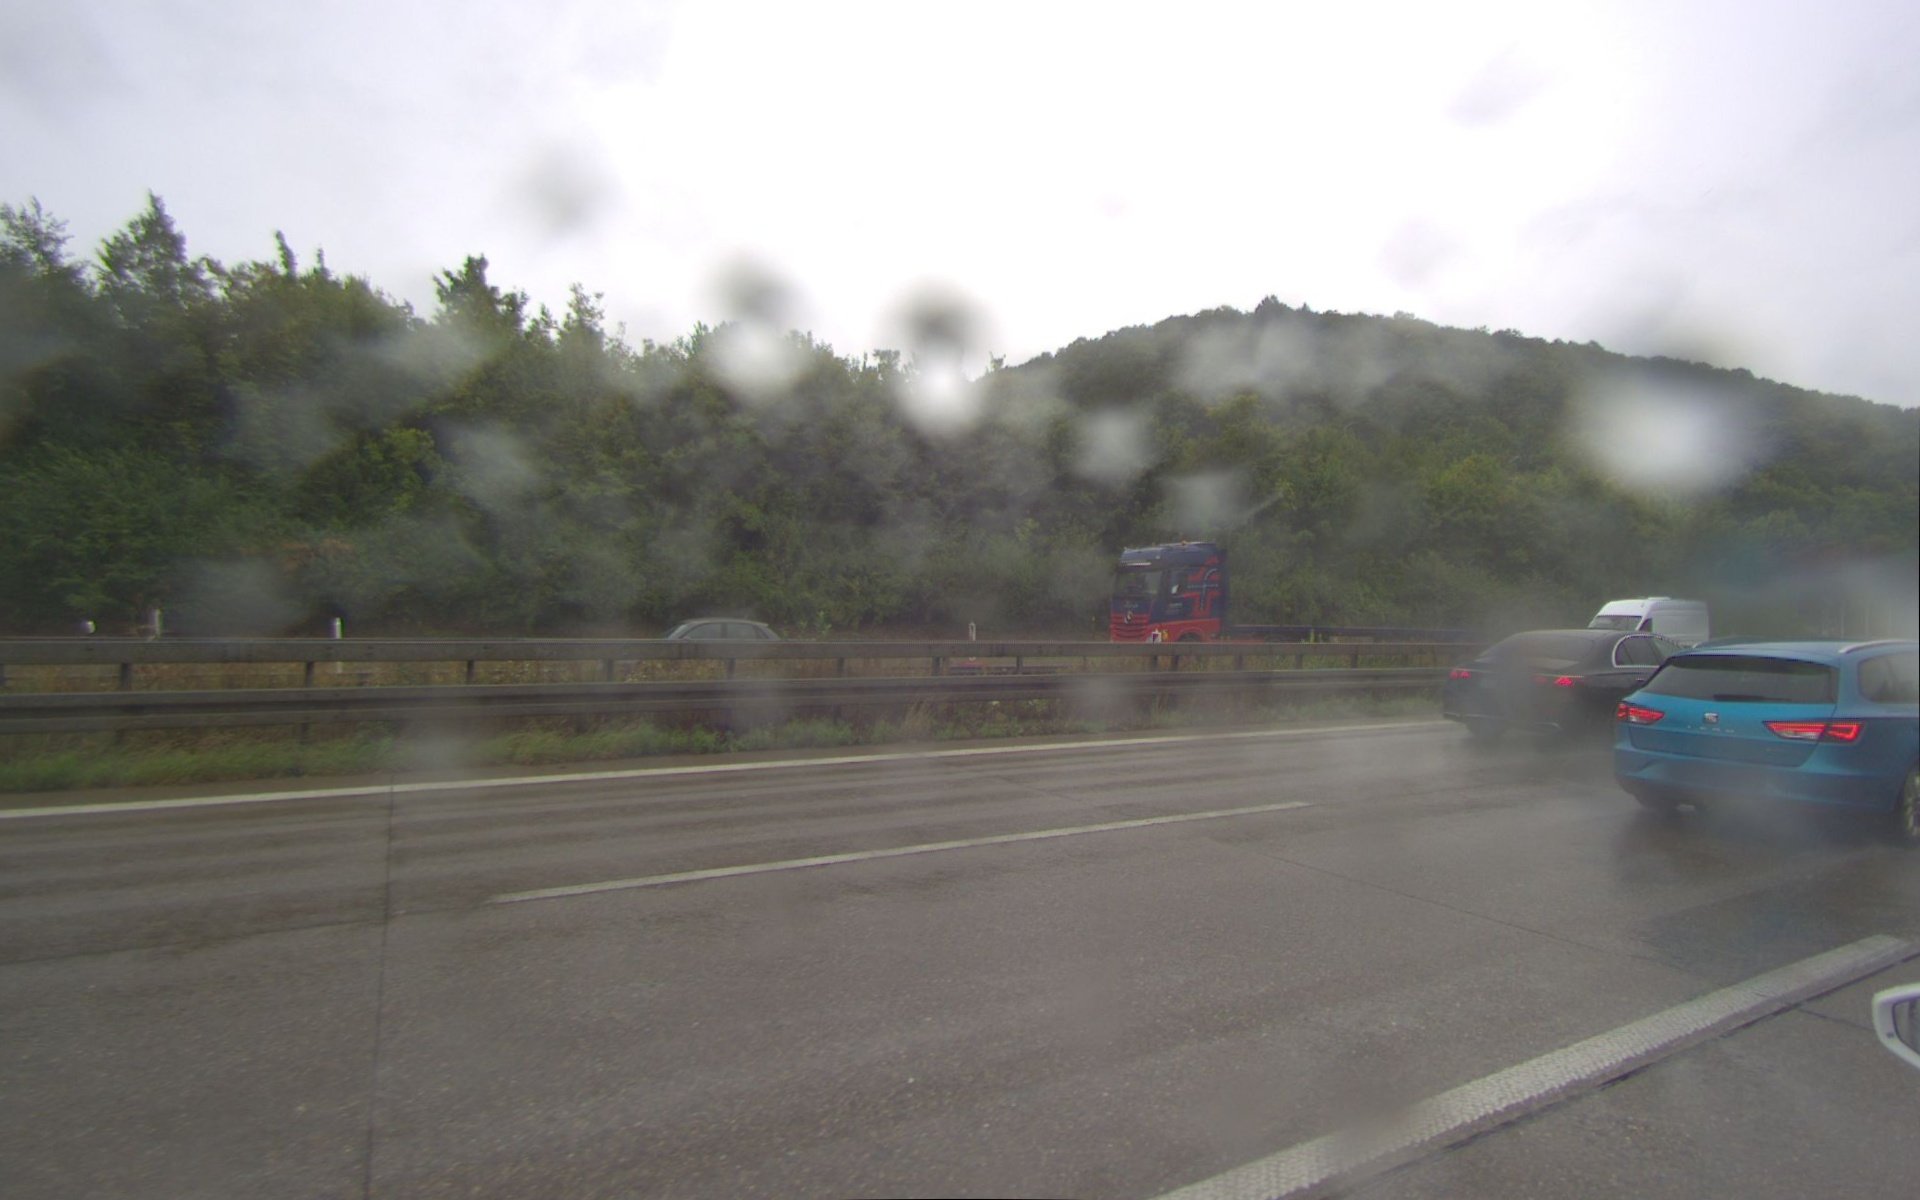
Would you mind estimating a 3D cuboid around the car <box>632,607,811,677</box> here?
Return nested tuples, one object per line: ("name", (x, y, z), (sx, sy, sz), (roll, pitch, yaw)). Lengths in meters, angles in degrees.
("car", (-4.944, 0.845, 20.875), (3.279, 1.329, 1.659), (1, 0, -30))

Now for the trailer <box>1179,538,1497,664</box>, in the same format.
("trailer", (13.681, 0.196, 35.623), (12.714, 3.907, 3.123), (2, -1, -29))

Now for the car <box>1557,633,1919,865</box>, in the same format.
("car", (6.924, 0.983, 8.041), (4.300, 1.356, 1.847), (1, 0, -30))

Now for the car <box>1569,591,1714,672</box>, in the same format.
("car", (26.502, 1.212, 38.981), (6.457, 2.939, 2.078), (1, 0, -30))

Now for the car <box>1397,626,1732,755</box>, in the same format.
("car", (7.776, 1.055, 12.841), (4.300, 1.356, 1.847), (1, 0, -30))

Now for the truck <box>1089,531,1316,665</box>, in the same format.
("truck", (7.852, 0.026, 32.349), (6.802, 3.907, 3.123), (1, -1, -29))
